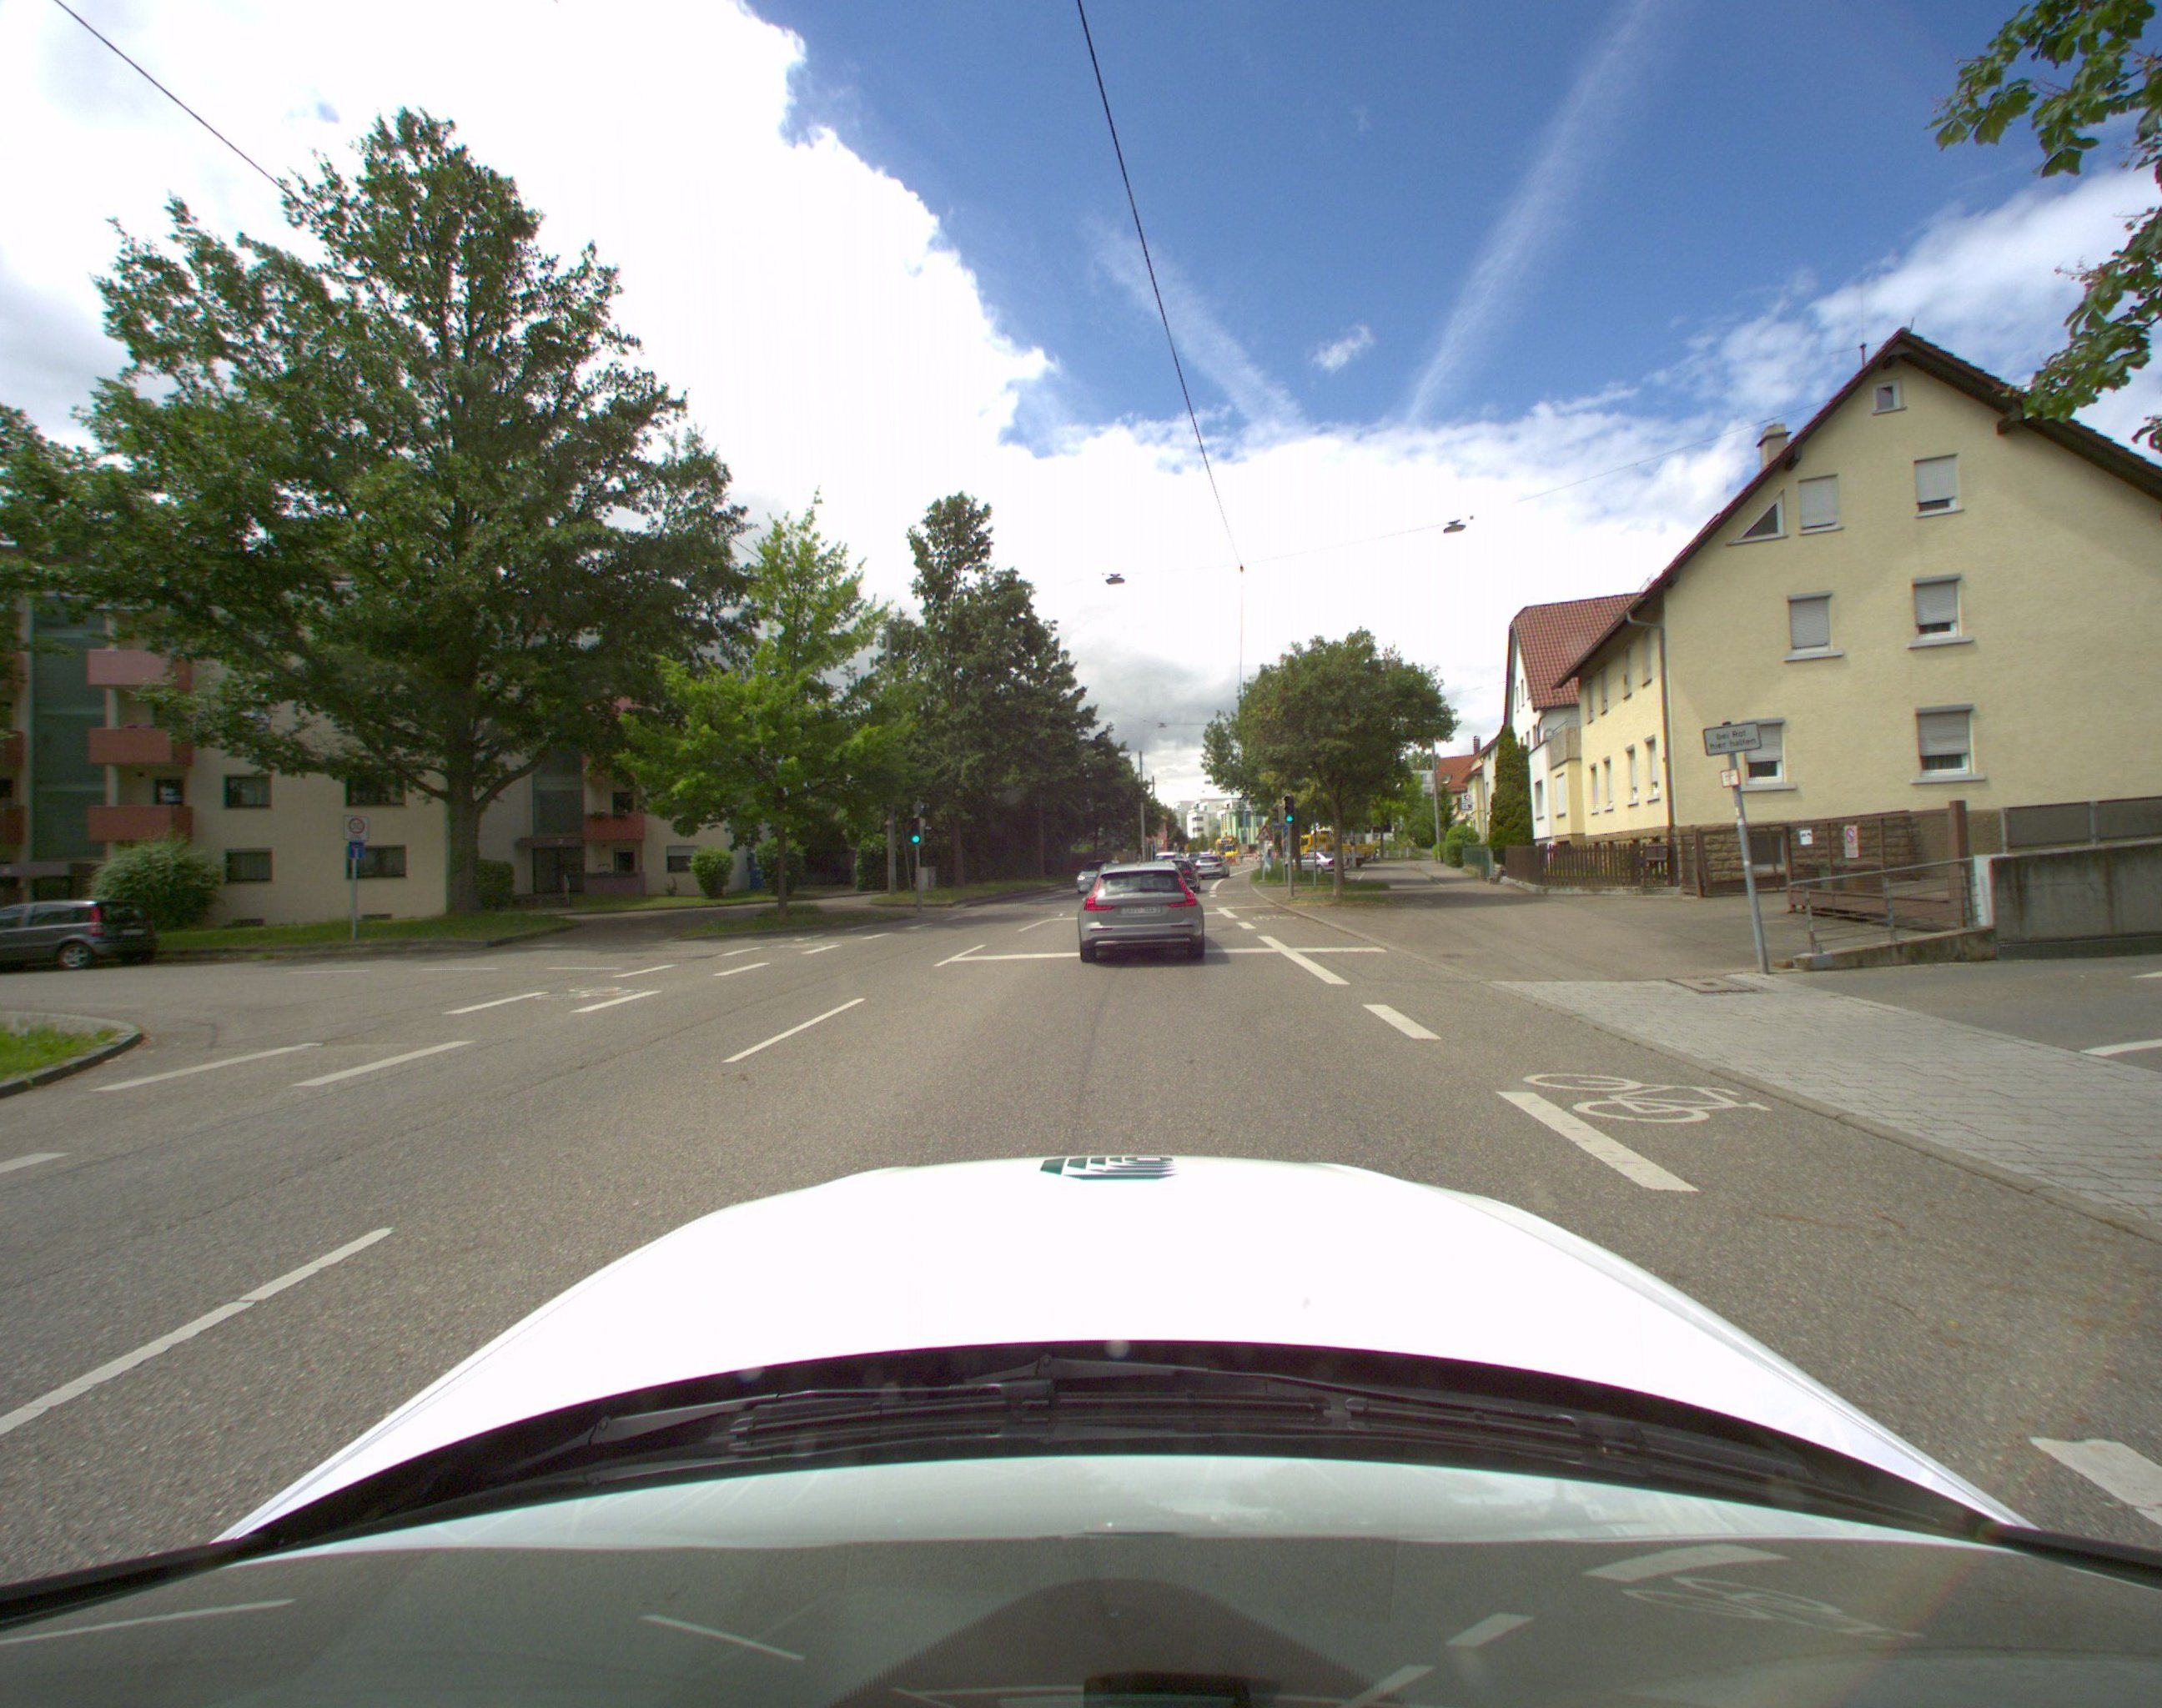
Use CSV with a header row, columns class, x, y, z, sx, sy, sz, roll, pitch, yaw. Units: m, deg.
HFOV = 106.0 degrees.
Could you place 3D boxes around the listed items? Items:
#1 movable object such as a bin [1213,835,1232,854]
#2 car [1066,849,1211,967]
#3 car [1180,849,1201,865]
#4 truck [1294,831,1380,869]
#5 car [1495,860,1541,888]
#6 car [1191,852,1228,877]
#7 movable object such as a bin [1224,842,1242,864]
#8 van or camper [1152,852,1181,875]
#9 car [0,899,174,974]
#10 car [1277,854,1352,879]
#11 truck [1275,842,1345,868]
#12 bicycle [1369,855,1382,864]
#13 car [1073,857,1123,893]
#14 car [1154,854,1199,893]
class,x,y,z,sx,sy,sz,roll,pitch,yaw
movable object such as a bin,22.630,-1.481,130.096,2.300,2.990,6.435,-2,0,5
car,0.986,0.776,13.282,1.918,1.540,4.006,-3,-1,5
car,12.721,0.351,94.396,1.867,1.687,4.262,-4,-1,13
truck,21.309,-0.269,68.178,2.780,3.008,6.637,1,-1,-33
car,18.625,0.847,34.831,1.449,1.124,3.893,0,-1,24
car,7.989,0.667,50.394,2.088,1.510,4.013,0,-1,12
movable object such as a bin,19.980,-0.119,106.673,2.021,2.643,5.960,-2,0,13
van or camper,6.957,0.740,65.714,1.849,1.776,4.394,-2,0,11
car,-23.123,1.831,17.855,3.996,1.453,1.687,-2,-2,-17
car,14.824,0.794,51.883,1.774,1.452,4.643,-1,0,-31
truck,18.660,0.085,66.498,2.007,2.014,5.619,1,-1,-32
bicycle,27.603,0.490,76.444,0.592,0.812,1.754,1,-1,0
car,0.880,1.017,39.812,1.888,1.580,4.009,-3,-1,8
car,3.924,0.796,33.819,1.654,1.508,3.706,1,-1,4
